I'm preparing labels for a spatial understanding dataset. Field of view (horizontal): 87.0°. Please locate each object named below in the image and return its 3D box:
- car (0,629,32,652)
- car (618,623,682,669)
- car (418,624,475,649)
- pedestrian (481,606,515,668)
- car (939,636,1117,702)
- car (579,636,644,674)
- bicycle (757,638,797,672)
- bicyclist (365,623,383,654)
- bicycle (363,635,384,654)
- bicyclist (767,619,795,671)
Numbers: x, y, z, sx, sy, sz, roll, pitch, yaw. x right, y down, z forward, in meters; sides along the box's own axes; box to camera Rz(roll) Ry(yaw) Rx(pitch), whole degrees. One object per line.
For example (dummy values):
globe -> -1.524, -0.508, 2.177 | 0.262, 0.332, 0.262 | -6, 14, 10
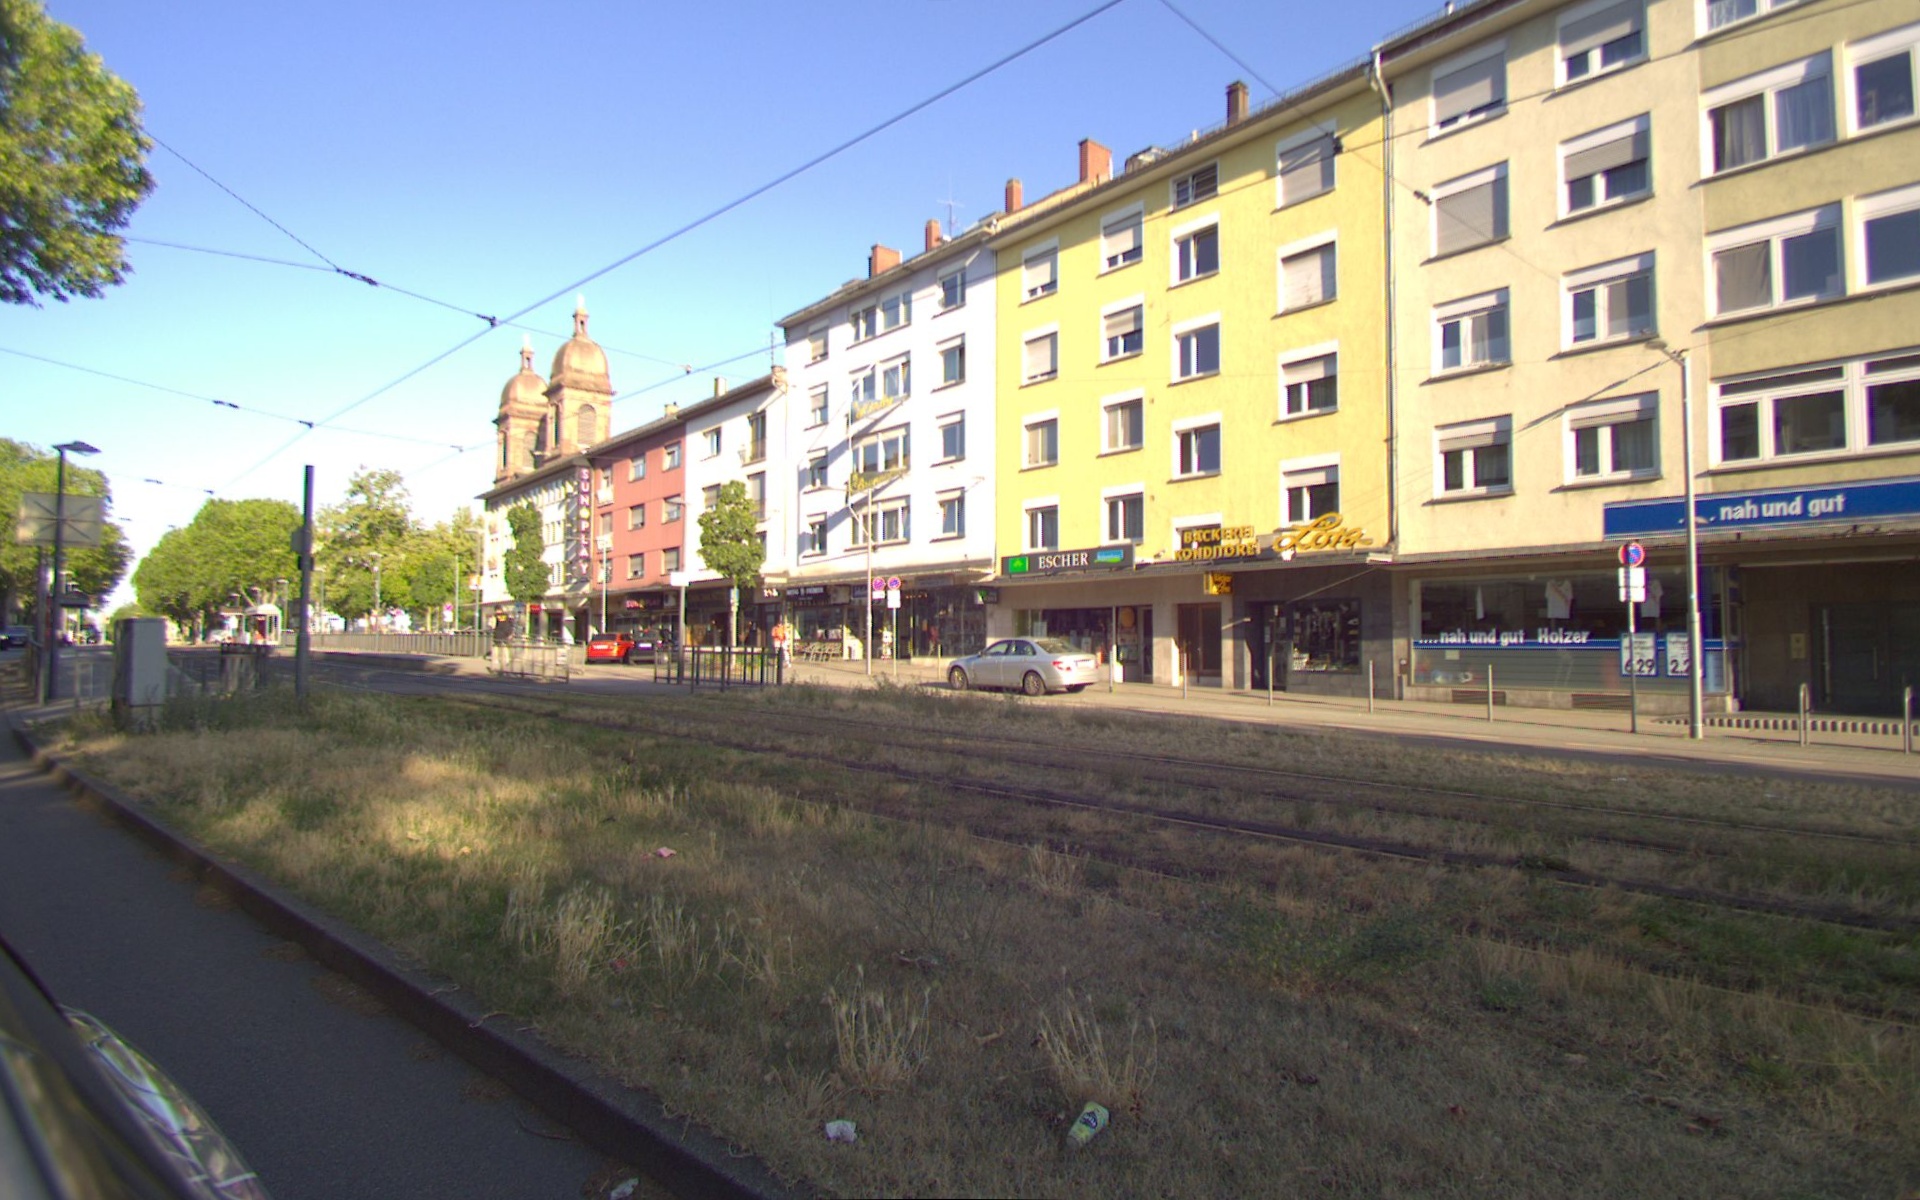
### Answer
car -> -61.385, 2.594, 65.589 | 4.002, 1.409, 1.694 | -2, -1, 45
car -> -13.554, 1.983, 44.450 | 1.836, 1.813, 3.773 | -1, 0, -3
car -> -34.083, 2.408, 67.306 | 1.720, 1.497, 3.998 | -1, -1, 1
pedestrian -> -14.048, 1.131, 30.770 | 0.590, 1.863, 0.733 | -2, -4, 43
car -> 1.695, 1.713, 26.240 | 1.970, 1.489, 4.414 | 0, -1, -44
car -> -15.807, 2.455, 46.091 | 1.836, 1.502, 3.773 | -1, 0, -3
bicycle -> -6.877, 2.058, 38.016 | 0.696, 1.168, 2.204 | 0, -1, -33
bicyclist -> -38.572, 2.513, 66.625 | 0.754, 2.029, 0.912 | 3, -4, -42
bicycle -> -38.622, 2.912, 66.655 | 0.709, 1.239, 2.281 | 3, -4, -42
bicyclist -> -6.689, 1.653, 37.749 | 0.683, 1.901, 1.060 | 0, -2, -32
